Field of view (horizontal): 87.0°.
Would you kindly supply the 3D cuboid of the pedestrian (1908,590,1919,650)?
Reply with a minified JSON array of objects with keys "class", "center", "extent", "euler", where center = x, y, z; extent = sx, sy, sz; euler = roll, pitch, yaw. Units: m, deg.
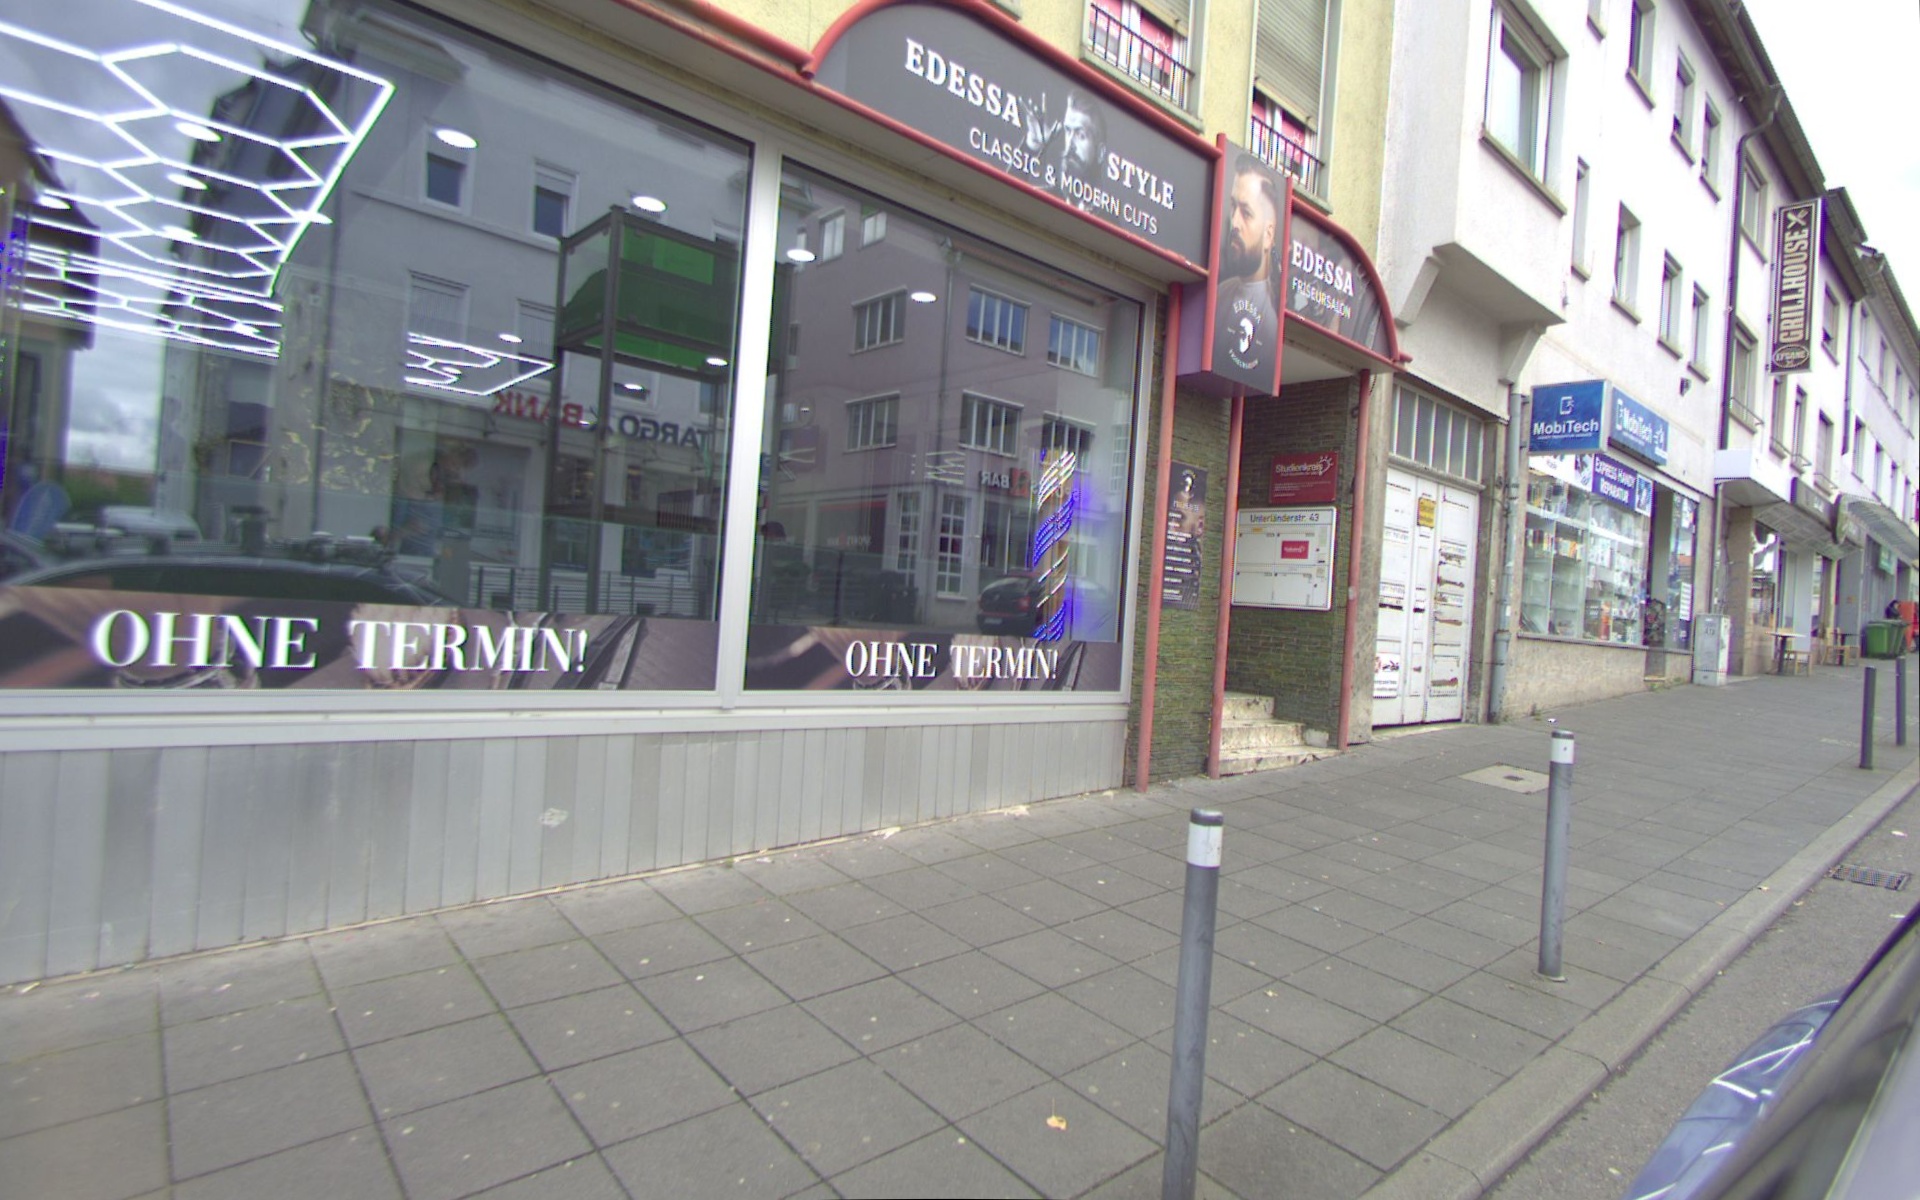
[{"class":"pedestrian","center":[28.673,0.592,30.024],"extent":[0.621,1.747,0.601],"euler":[0,0,26]}]

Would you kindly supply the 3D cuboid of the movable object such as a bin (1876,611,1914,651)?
[{"class":"movable object such as a bin","center":[25.595,0.844,27.701],"extent":[0.550,1.043,0.670],"euler":[1,1,-41]}]

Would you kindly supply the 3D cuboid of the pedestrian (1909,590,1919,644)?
[{"class":"pedestrian","center":[30.850,0.551,32.221],"extent":[0.735,1.690,0.620],"euler":[4,3,34]}]

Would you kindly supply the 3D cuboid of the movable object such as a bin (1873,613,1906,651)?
[{"class":"movable object such as a bin","center":[25.111,0.860,27.341],"extent":[0.490,0.968,0.568],"euler":[1,1,-41]}]

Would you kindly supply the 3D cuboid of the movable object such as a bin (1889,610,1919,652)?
[{"class":"movable object such as a bin","center":[26.215,0.847,28.000],"extent":[0.661,1.094,0.652],"euler":[1,1,-41]}]
